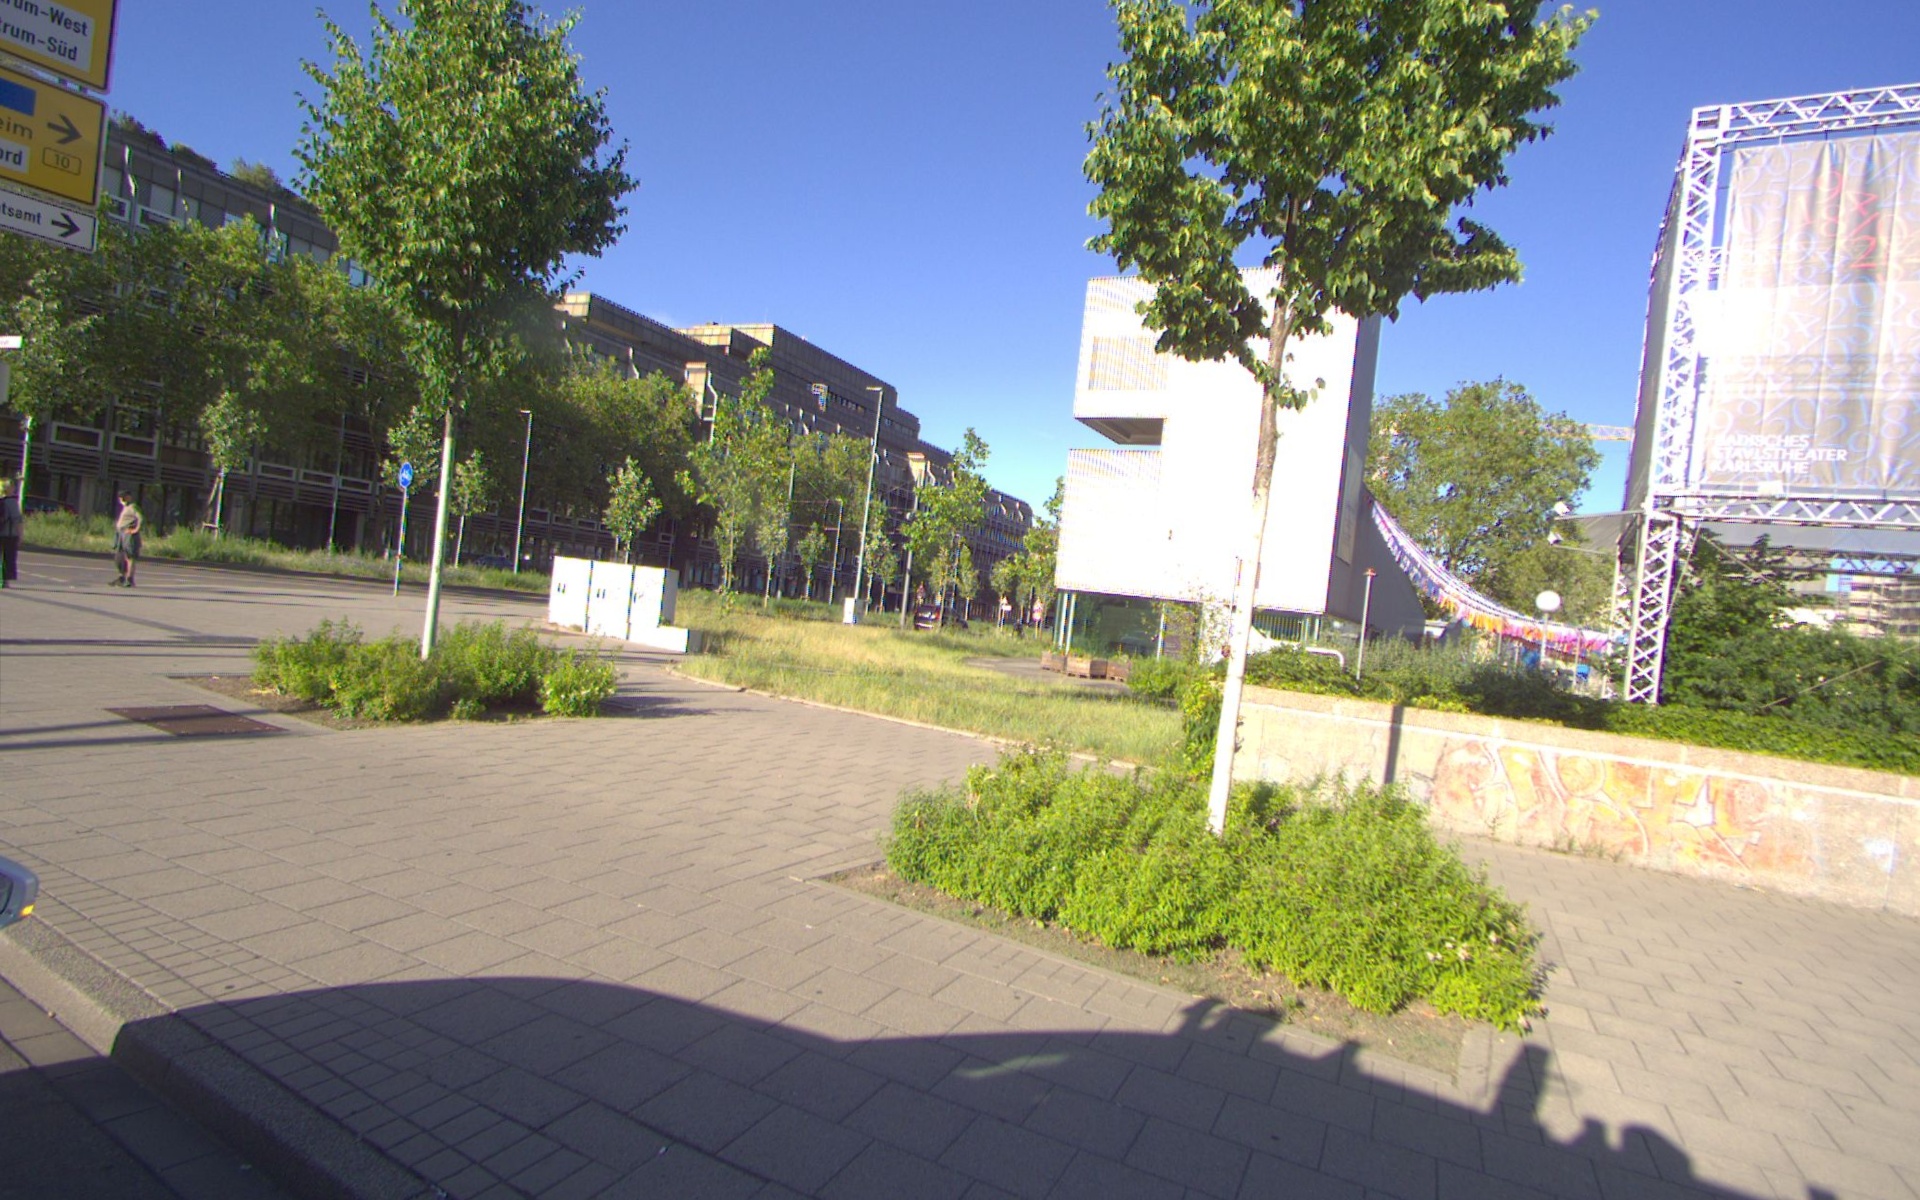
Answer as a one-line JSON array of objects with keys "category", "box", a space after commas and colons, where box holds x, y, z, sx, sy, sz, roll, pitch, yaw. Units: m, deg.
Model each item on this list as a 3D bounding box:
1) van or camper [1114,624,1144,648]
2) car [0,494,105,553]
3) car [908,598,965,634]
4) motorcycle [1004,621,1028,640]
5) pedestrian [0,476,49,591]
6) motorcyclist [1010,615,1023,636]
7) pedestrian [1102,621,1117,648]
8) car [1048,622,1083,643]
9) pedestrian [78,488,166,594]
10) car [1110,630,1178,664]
[{"category": "van or camper", "box": [16.604, 3.540, 98.779, 1.969, 2.038, 4.844, 7, -1, 19]}, {"category": "car", "box": [-33.264, -2.793, 35.467, 1.792, 1.704, 4.302, 7, -1, 21]}, {"category": "car", "box": [-1.394, 1.038, 62.542, 1.851, 1.886, 4.833, 7, -1, 18]}, {"category": "motorcycle", "box": [4.138, 2.231, 74.010, 0.716, 1.223, 2.602, 8, 0, 24]}, {"category": "pedestrian", "box": [-14.244, -1.014, 14.910, 0.859, 1.634, 0.767, 7, 1, 30]}, {"category": "motorcyclist", "box": [4.159, 1.863, 73.914, 0.636, 1.441, 0.658, 8, 1, 24]}, {"category": "pedestrian", "box": [9.087, 2.094, 61.142, 0.520, 1.571, 0.638, 7, -1, 31]}, {"category": "car", "box": [8.957, 2.770, 85.244, 1.642, 1.528, 3.871, 7, -1, 25]}, {"category": "pedestrian", "box": [-14.920, -1.043, 17.929, 0.755, 1.728, 0.873, 7, 1, 30]}, {"category": "car", "box": [13.506, 3.477, 73.631, 5.284, 1.845, 1.827, 9, -2, -40]}]
